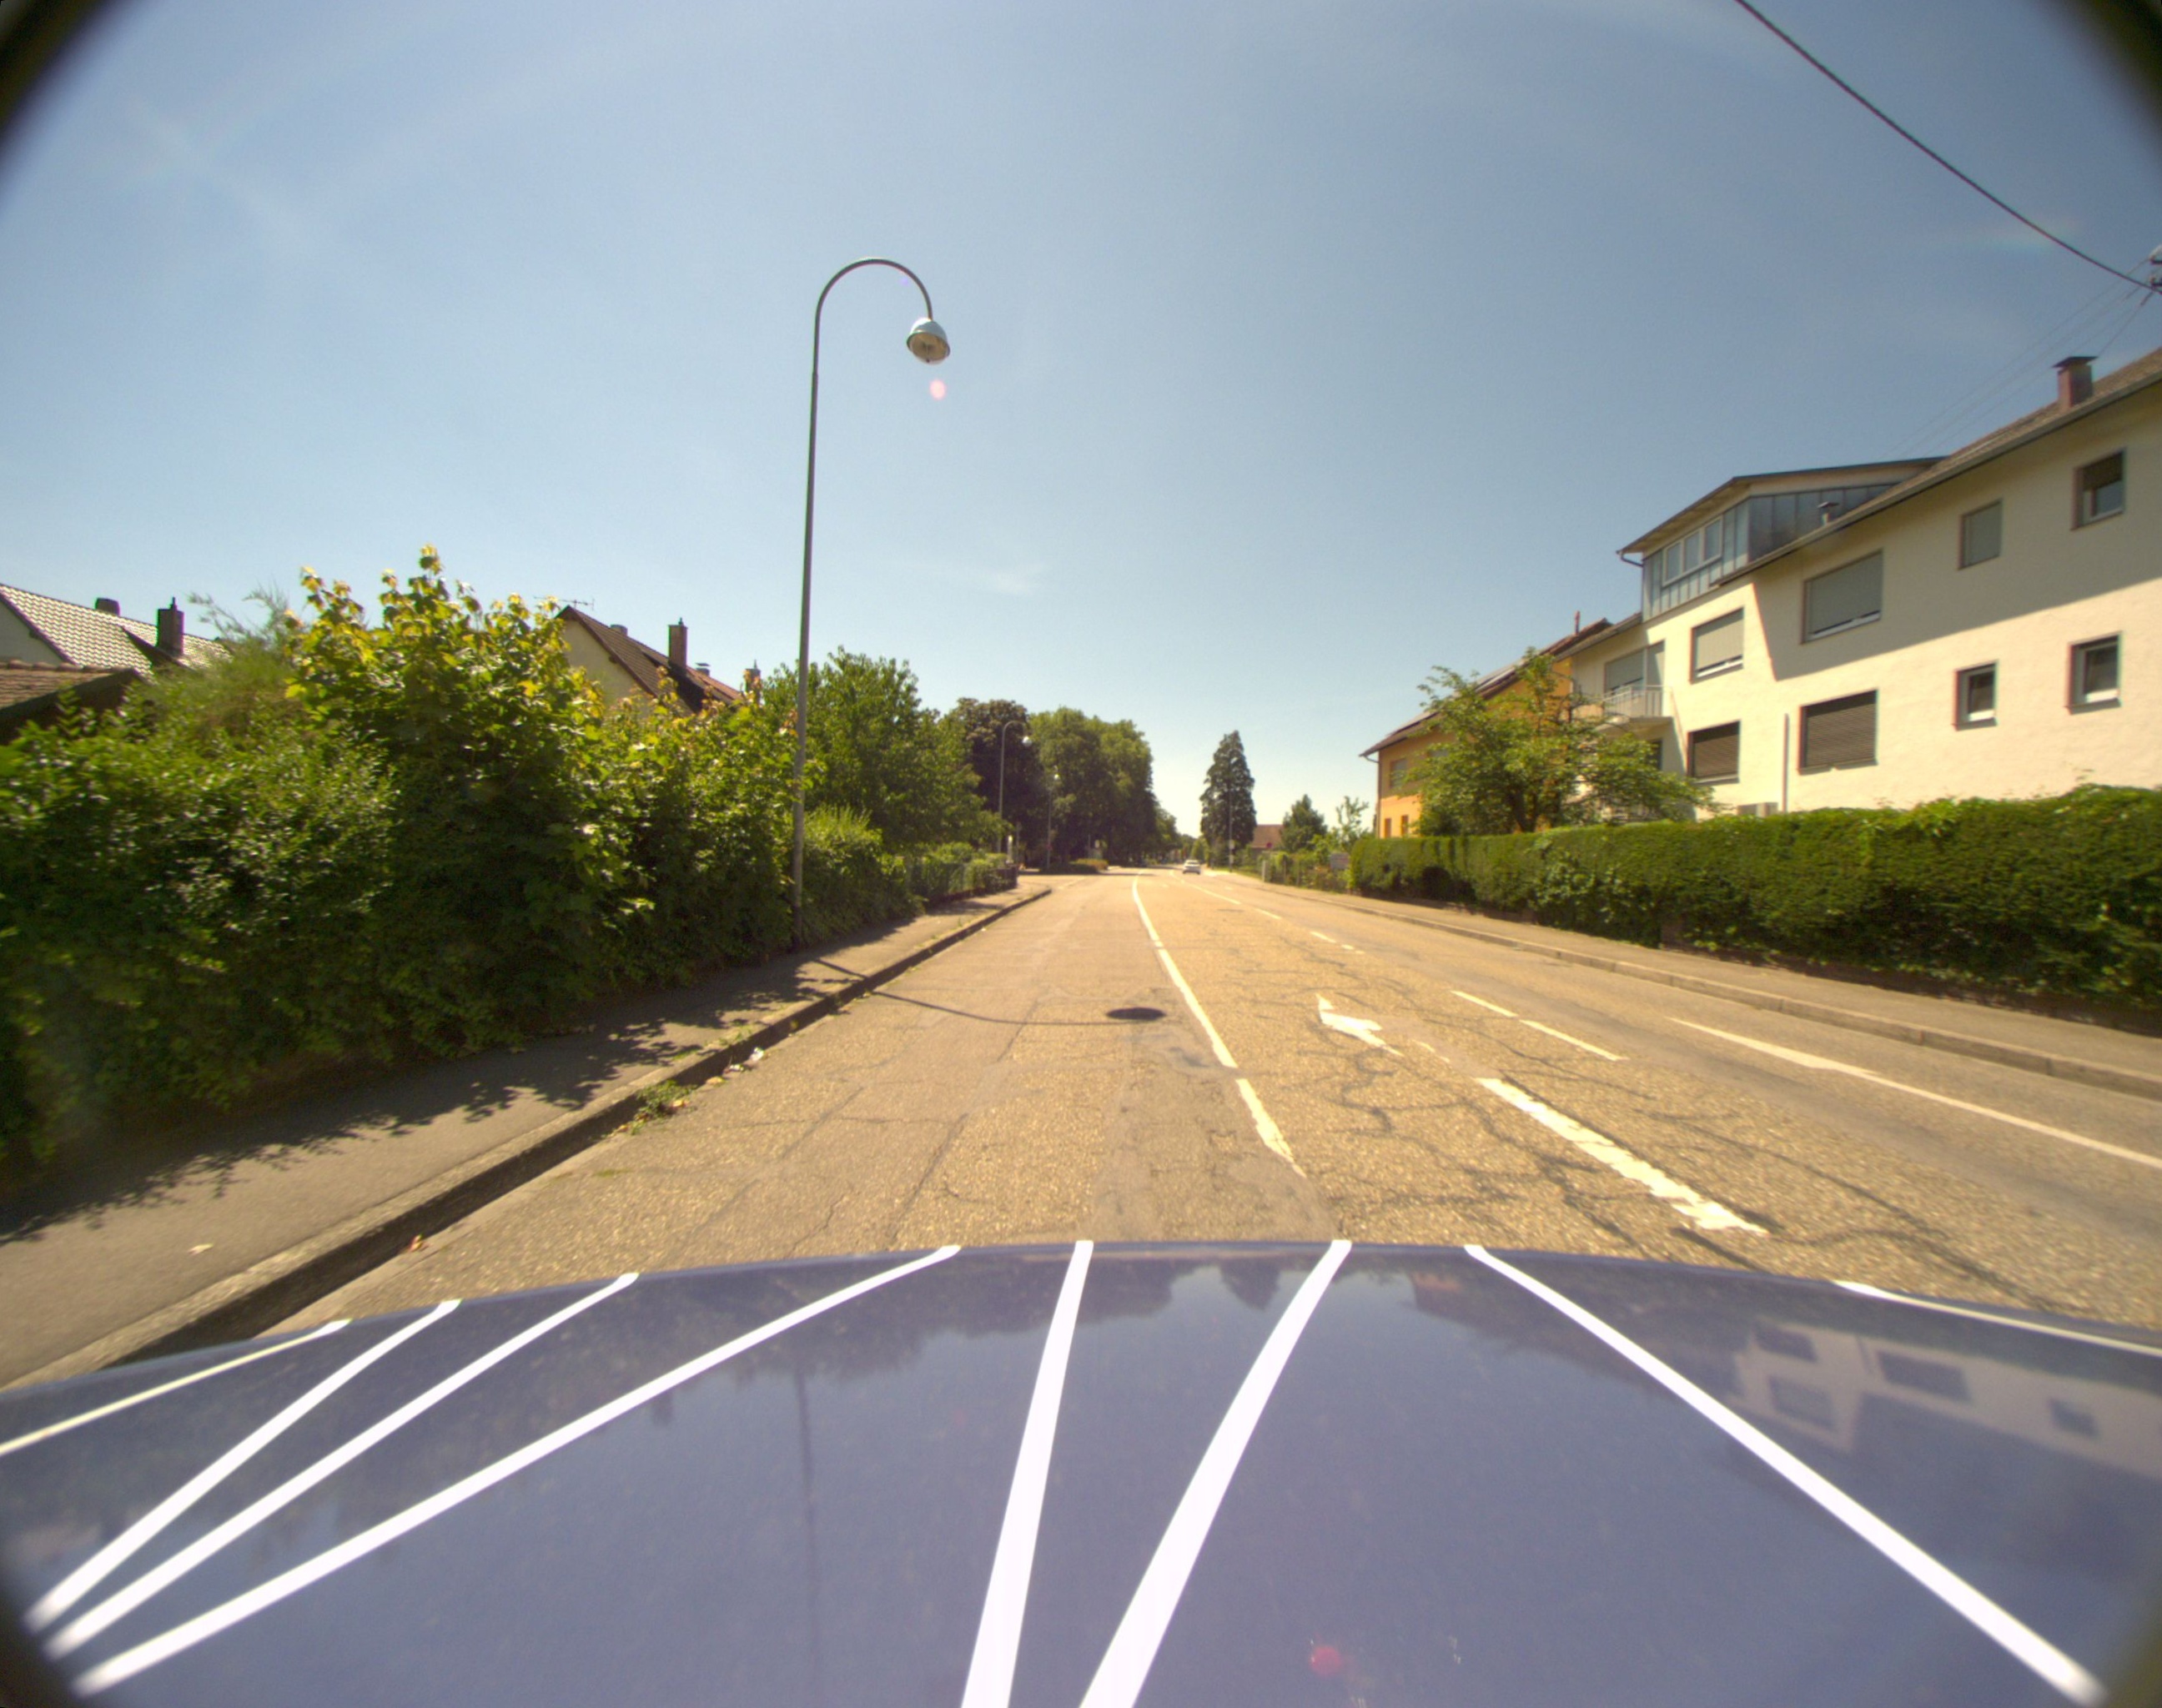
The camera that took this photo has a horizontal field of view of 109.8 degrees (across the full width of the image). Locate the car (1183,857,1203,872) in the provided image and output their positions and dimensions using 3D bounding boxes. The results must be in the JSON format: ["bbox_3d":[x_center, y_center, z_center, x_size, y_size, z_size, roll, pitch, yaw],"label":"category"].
[{"bbox_3d":[11.682,1.076,79.310,1.684,1.364,4.207,3,0,4],"label":"car"}]

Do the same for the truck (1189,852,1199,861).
[{"bbox_3d":[31.261,0.687,210.756,2.621,2.228,6.262,1,0,9],"label":"truck"}]

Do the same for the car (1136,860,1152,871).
[{"bbox_3d":[9.483,1.687,113.720,1.882,1.623,4.324,2,0,11],"label":"car"}]
